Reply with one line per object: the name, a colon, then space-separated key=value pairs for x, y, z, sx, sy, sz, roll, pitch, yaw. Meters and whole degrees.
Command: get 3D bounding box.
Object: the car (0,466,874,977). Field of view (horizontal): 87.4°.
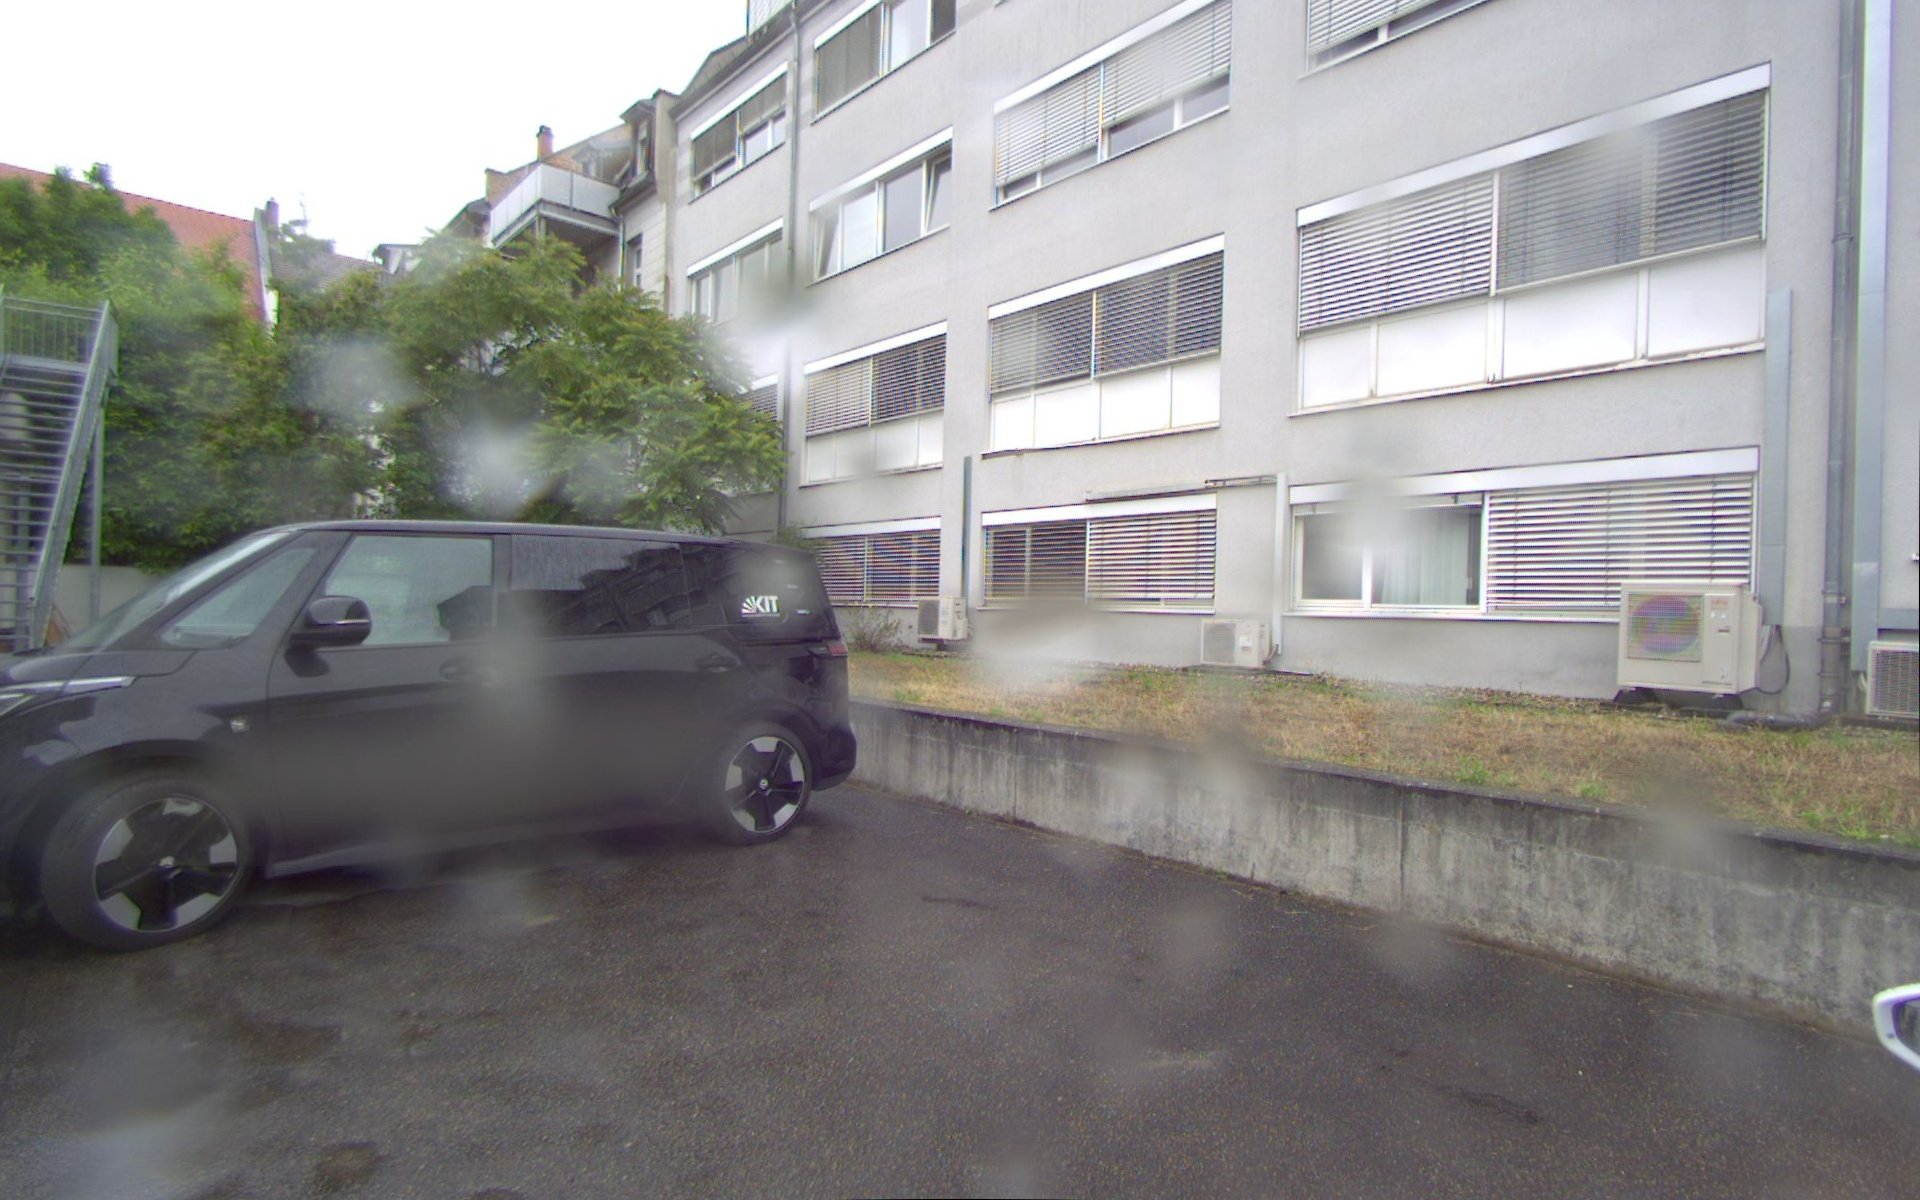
car: x=-2.890 y=0.514 z=5.858 sx=4.491 sy=1.922 sz=2.020 roll=2 pitch=-2 yaw=-44
